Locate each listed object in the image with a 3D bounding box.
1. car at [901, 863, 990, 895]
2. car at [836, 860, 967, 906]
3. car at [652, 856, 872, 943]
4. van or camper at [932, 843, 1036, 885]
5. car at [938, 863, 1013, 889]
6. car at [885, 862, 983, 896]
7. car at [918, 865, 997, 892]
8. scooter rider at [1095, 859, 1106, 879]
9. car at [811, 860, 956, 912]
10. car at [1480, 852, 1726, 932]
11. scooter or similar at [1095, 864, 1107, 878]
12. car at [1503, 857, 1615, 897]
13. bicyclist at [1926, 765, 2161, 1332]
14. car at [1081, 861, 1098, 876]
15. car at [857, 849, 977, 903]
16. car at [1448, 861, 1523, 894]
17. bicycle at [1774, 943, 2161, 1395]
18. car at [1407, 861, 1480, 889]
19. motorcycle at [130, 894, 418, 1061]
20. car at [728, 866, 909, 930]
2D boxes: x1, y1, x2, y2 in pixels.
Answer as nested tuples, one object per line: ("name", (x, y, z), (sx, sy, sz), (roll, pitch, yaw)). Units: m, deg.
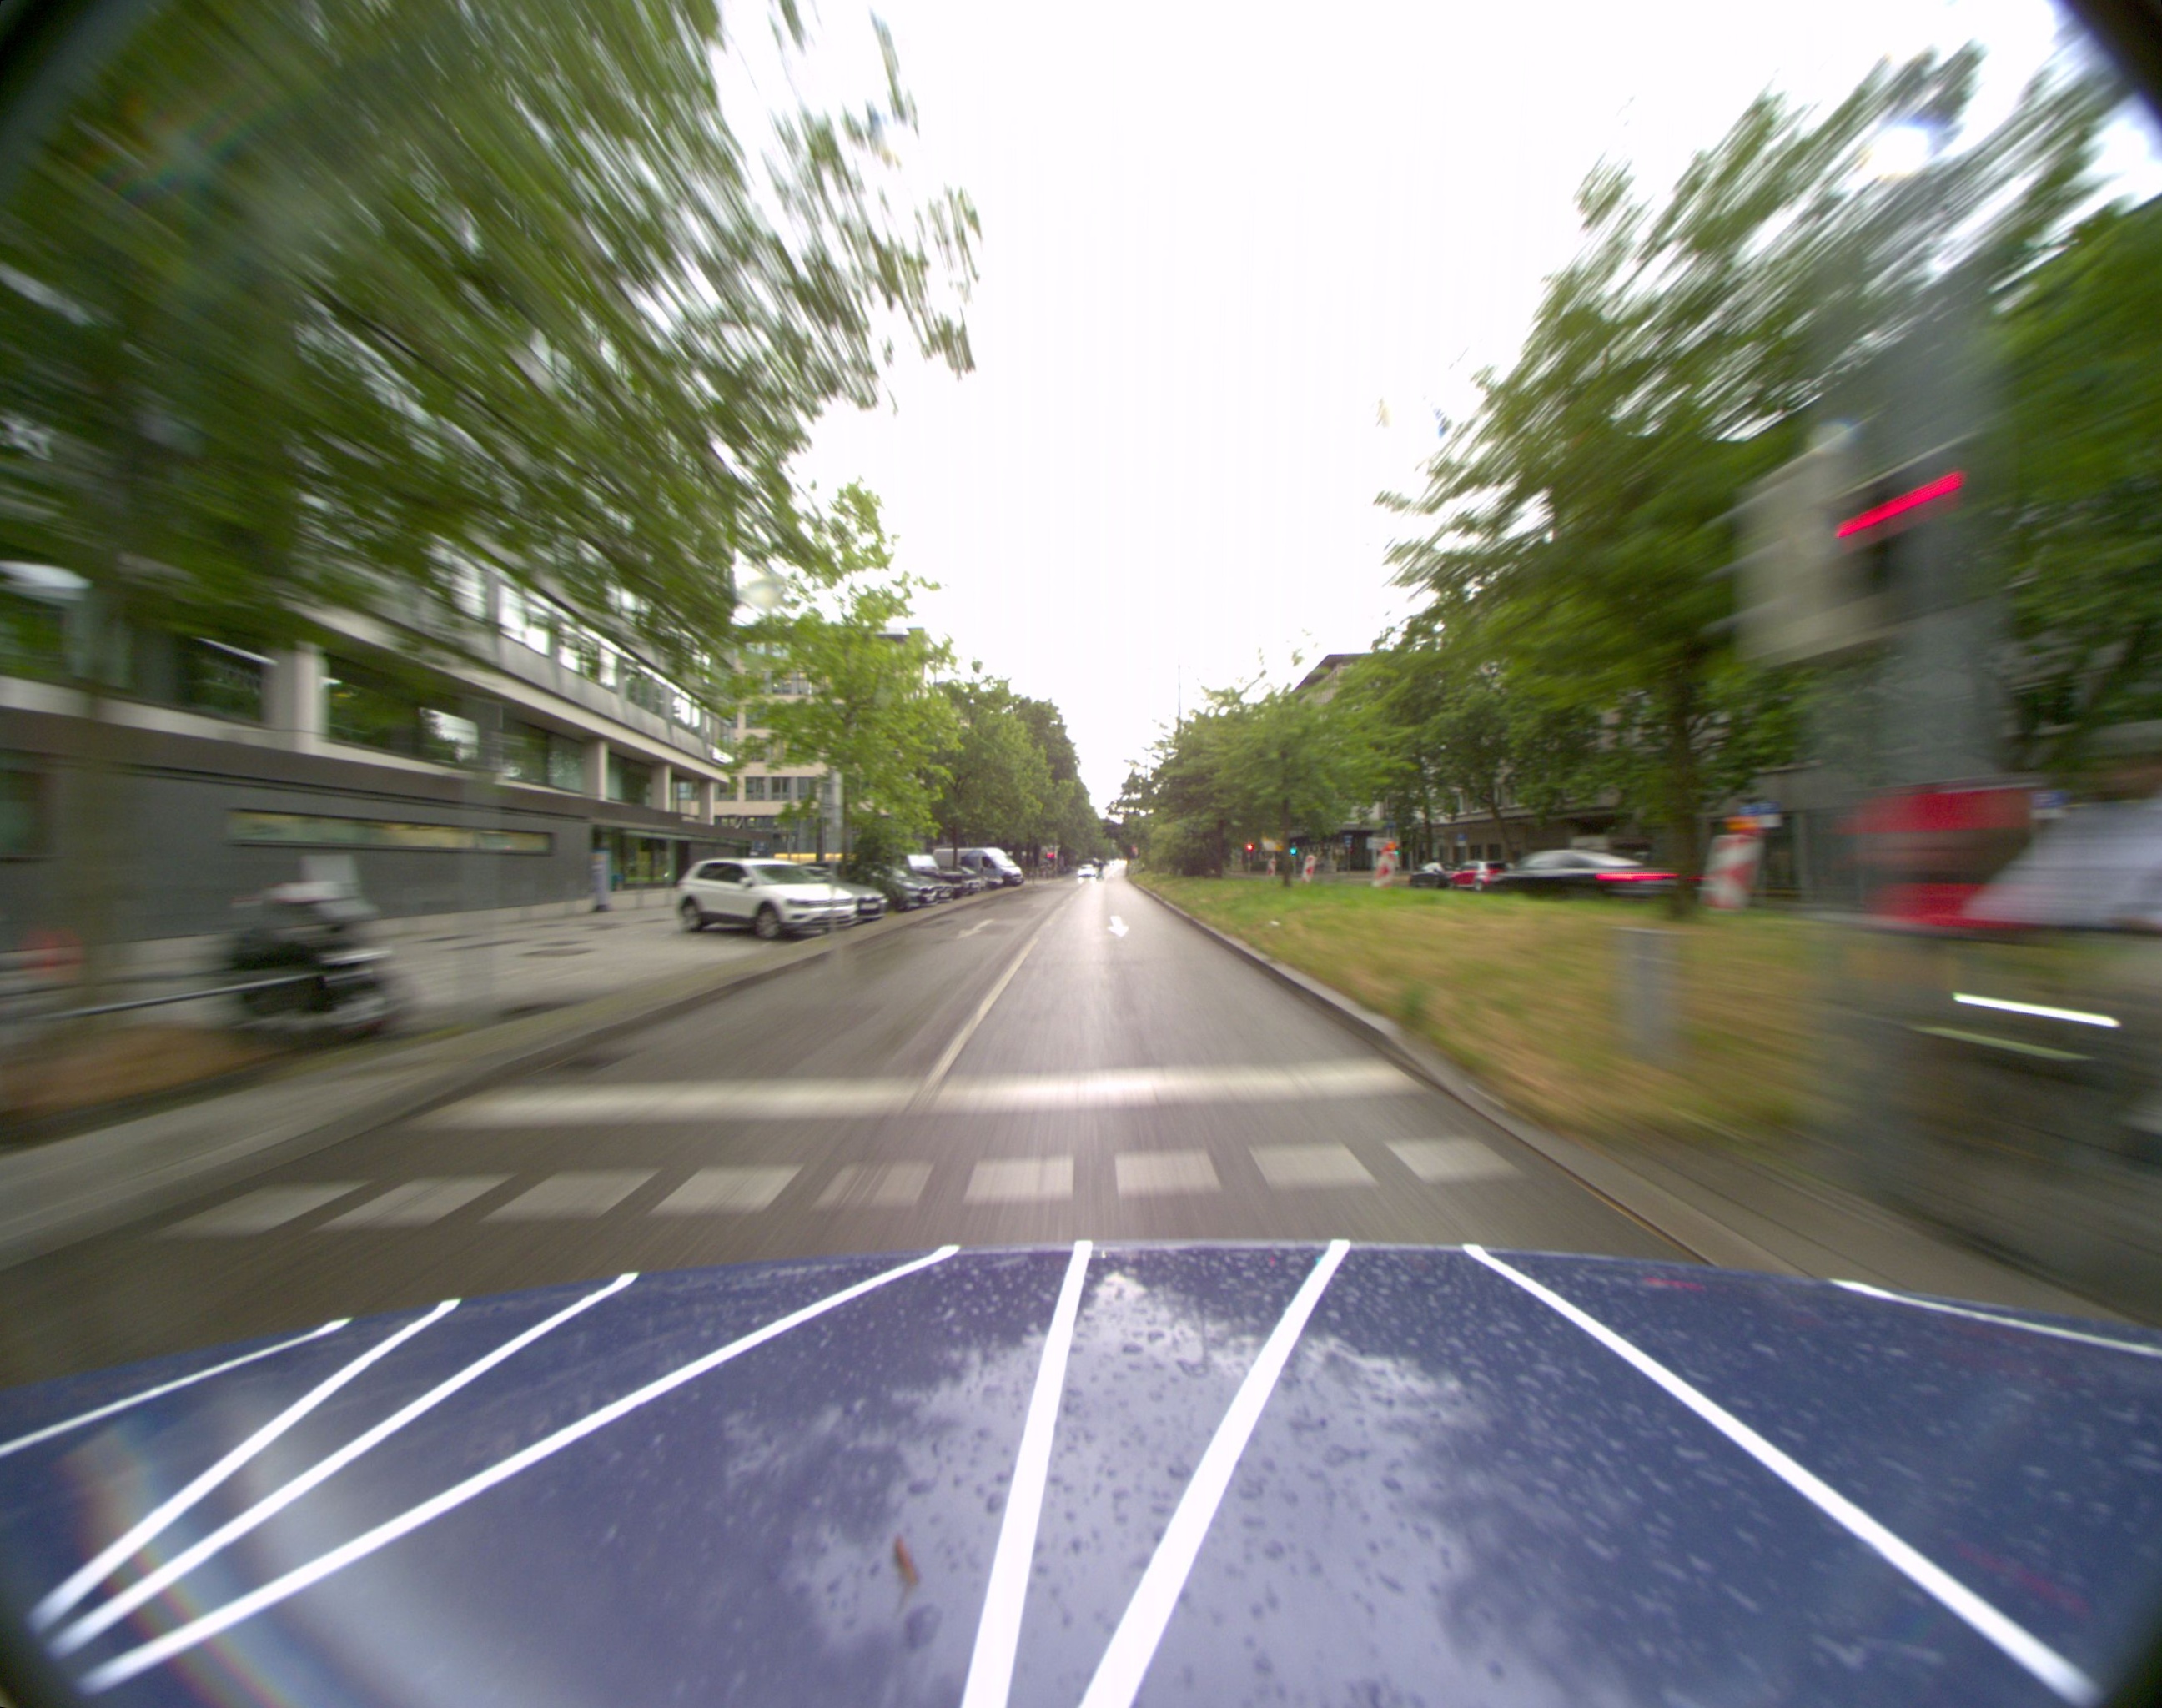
("car", (-6.479, 1.191, 36.222), (4.003, 1.415, 1.712), (-1, 0, 31))
("car", (-6.447, 1.006, 27.248), (4.380, 1.528, 1.920), (-1, 0, 28))
("car", (-6.987, 0.909, 16.491), (4.791, 1.640, 1.920), (-1, 0, 31))
("van or camper", (-6.079, 0.649, 47.241), (6.249, 2.432, 2.320), (-1, 0, 31))
("car", (-6.053, 1.236, 43.574), (4.051, 1.415, 1.712), (-1, 0, 31))
("car", (-6.486, 1.077, 33.392), (4.051, 1.415, 1.740), (-1, 0, 31))
("car", (-6.713, 1.312, 41.168), (4.051, 1.415, 1.712), (-1, 0, 31))
("scooter rider", (1.894, 1.423, 73.805), (0.980, 1.892, 1.023), (0, 0, 7))
("car", (-6.371, 0.999, 24.460), (4.346, 1.528, 1.920), (-1, 0, 28))
("car", (10.883, 0.724, 16.380), (1.795, 1.458, 4.724), (1, 0, -4))
("scooter or similar", (1.919, 1.661, 73.914), (0.980, 1.347, 1.872), (0, 0, 8))
("car", (20.166, 0.933, 32.310), (1.866, 1.612, 4.467), (0, 0, -1))
("bicyclist", (3.812, 0.562, 2.507), (1.078, 1.739, 0.812), (-4, 2, 3))
("car", (0.995, 1.649, 88.366), (1.790, 1.736, 4.575), (0, 0, -1))
("car", (-6.531, 0.857, 30.133), (4.506, 1.981, 1.926), (-1, 0, 31))
("car", (19.780, 1.118, 37.311), (1.690, 1.493, 3.692), (0, 0, -1))
("bicycle", (3.688, 0.925, 2.514), (1.976, 1.132, 0.777), (-3, 0, 3))
("car", (19.865, 1.126, 41.868), (1.790, 1.478, 4.575), (0, 0, -1))
("motorcycle", (-7.167, 1.055, 6.779), (2.087, 1.349, 0.678), (-1, 0, 9))
("car", (-6.847, 1.071, 19.657), (4.710, 1.465, 1.920), (-1, 0, 33))
